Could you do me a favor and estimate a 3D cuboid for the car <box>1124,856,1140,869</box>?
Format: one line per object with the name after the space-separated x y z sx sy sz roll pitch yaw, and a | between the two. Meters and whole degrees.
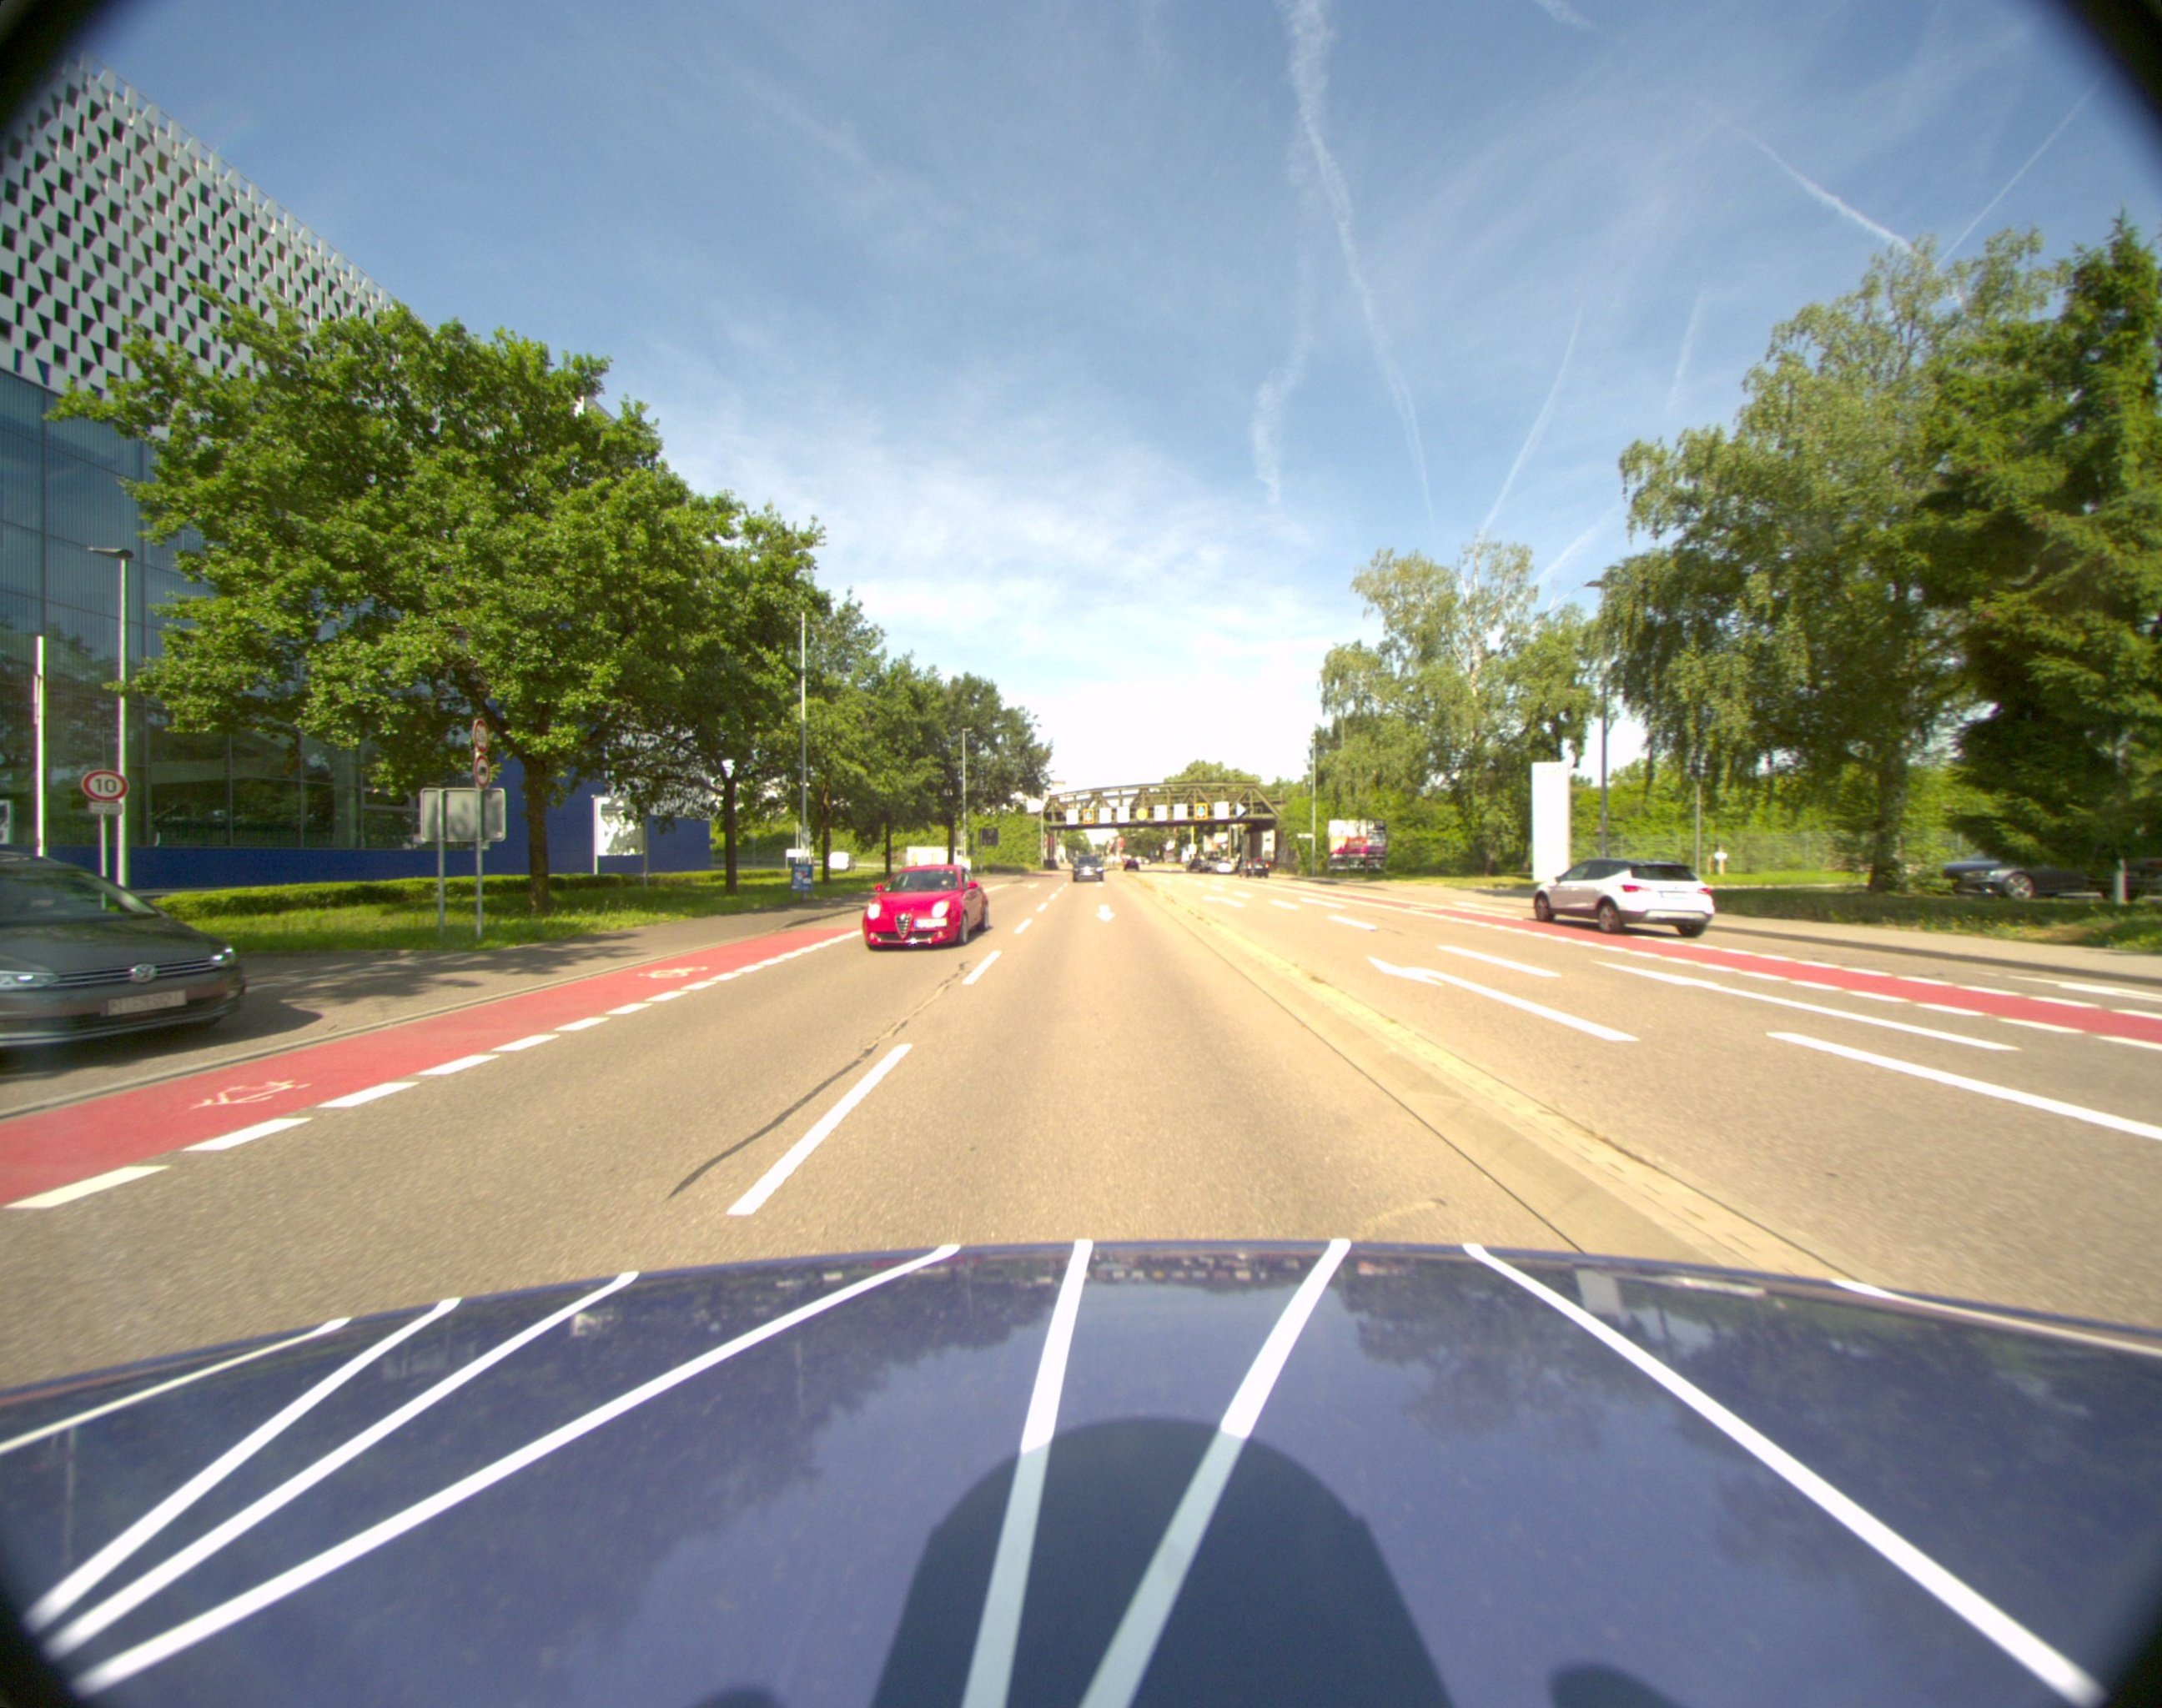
6.234 1.043 93.120 1.785 1.438 4.120 0 1 1 | car

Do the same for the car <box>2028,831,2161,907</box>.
24.050 0.260 16.587 4.224 1.537 2.000 -2 0 1 | car

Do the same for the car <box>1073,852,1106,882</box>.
0.570 0.727 45.205 1.824 1.632 4.112 -2 0 2 | car

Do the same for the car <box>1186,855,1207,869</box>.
13.929 0.979 91.951 1.877 1.586 4.387 0 0 0 | car

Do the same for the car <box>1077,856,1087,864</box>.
0.145 1.213 148.666 1.824 1.569 4.246 1 0 0 | car

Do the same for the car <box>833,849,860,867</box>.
-21.809 0.372 70.703 1.857 1.629 4.300 -2 0 -10 | car

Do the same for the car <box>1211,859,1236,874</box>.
13.747 1.224 73.644 1.639 1.379 4.318 1 0 1 | car

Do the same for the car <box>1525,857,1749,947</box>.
11.609 0.904 16.290 1.998 1.608 4.105 1 0 5 | car

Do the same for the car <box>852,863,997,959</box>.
-2.783 0.958 14.398 1.798 1.446 3.979 -1 1 1 | car

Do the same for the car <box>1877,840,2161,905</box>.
23.351 0.437 19.023 4.698 1.381 2.000 -2 0 1 | car

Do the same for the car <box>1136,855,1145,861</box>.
15.927 1.040 204.034 1.824 1.711 3.636 -2 0 -2 | car

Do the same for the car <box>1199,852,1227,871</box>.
13.933 0.746 80.651 1.998 1.850 5.451 2 0 1 | car

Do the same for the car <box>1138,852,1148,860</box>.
14.636 0.521 179.035 1.824 1.711 3.636 -2 0 -2 | car

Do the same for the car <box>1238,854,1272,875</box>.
13.331 0.810 58.306 1.702 1.510 4.027 1 0 1 | car

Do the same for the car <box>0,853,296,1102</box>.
-9.615 0.852 6.427 4.452 1.684 1.845 1 1 8 | car
